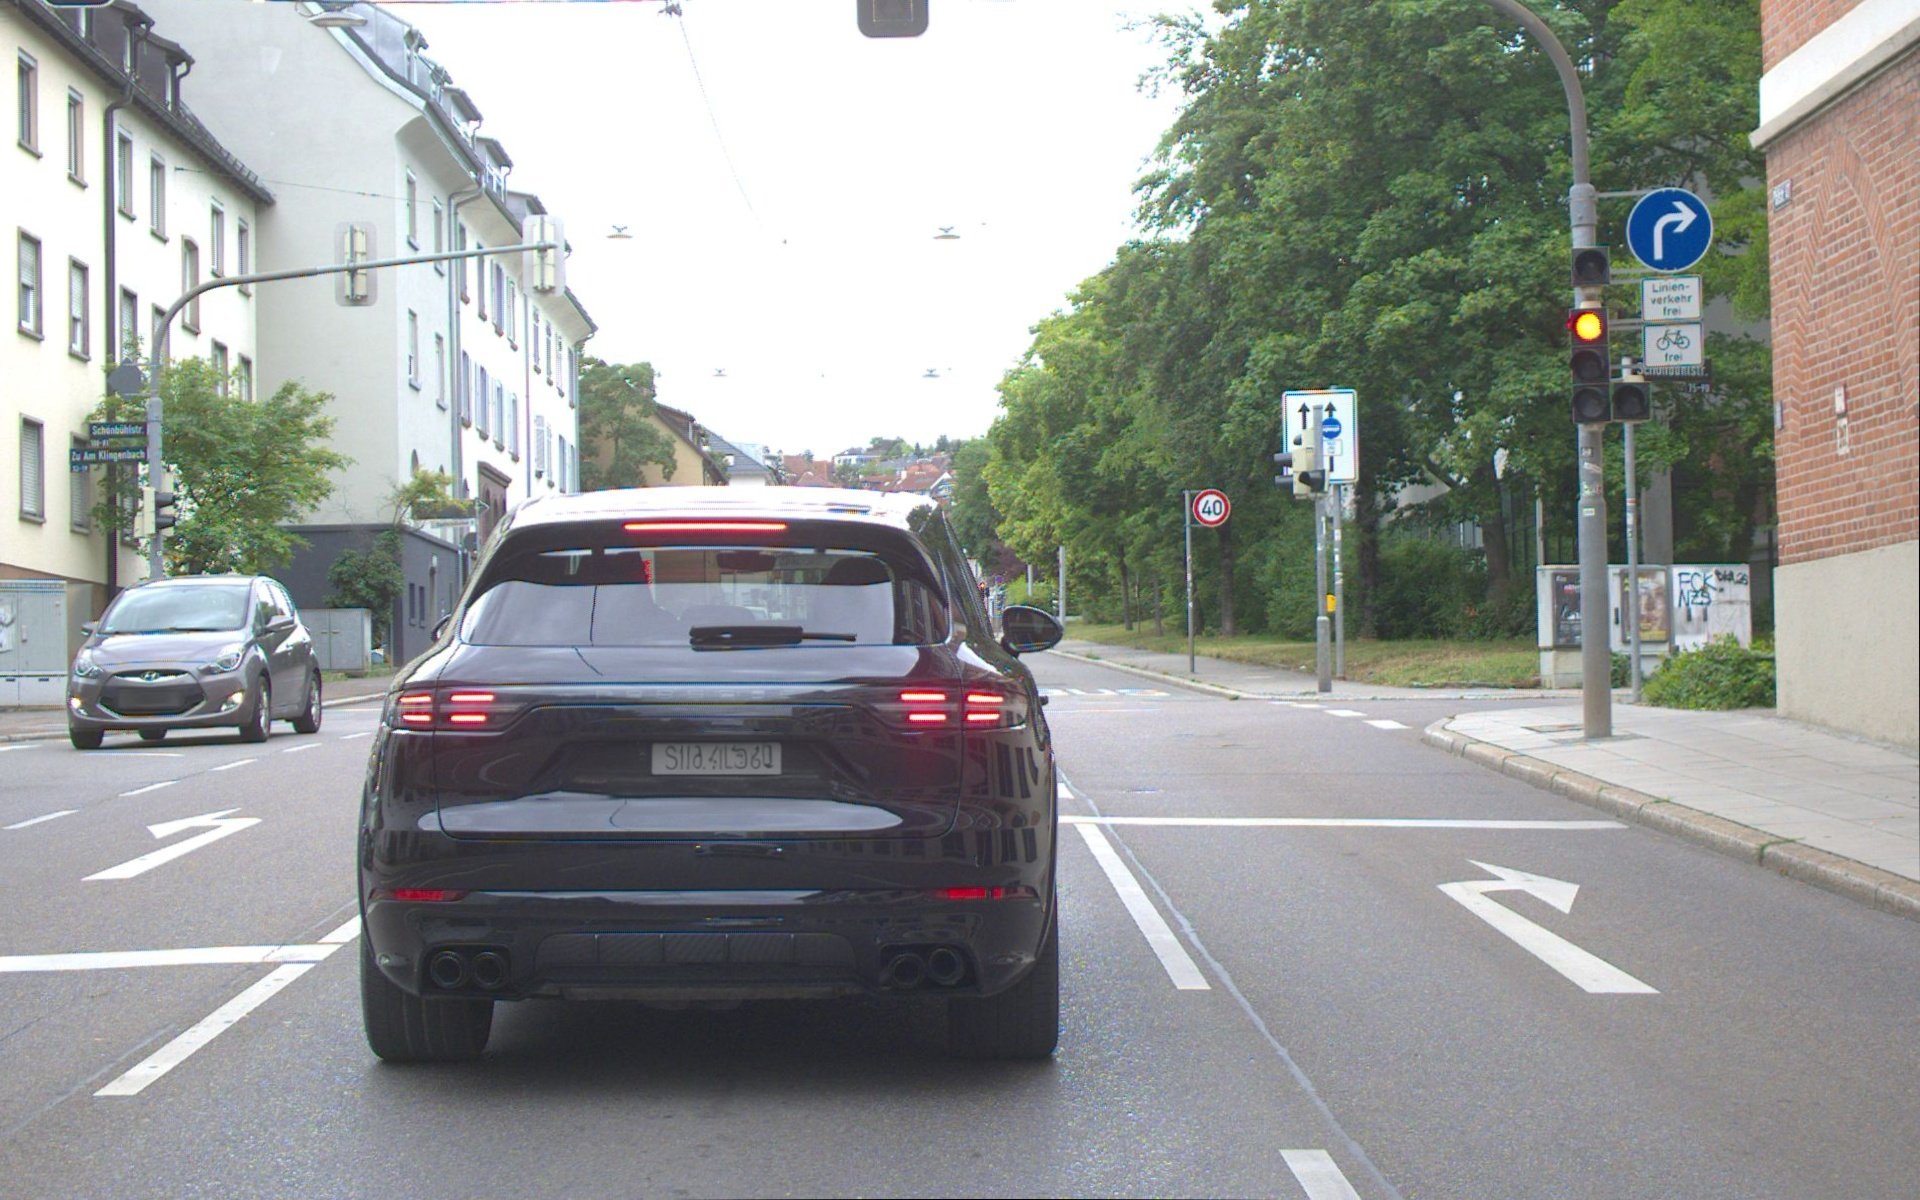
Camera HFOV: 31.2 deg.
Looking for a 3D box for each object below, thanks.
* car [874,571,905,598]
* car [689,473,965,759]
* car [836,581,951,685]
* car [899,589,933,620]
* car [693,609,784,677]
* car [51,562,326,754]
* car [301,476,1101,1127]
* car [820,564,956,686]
[{"bbox_3d":[-4.392,-0.998,215.198,1.827,1.599,4.135,1,1,0],"label":"car"},{"bbox_3d":[-0.971,0.075,26.825,1.965,2.035,4.135,1,1,0],"label":"car"},{"bbox_3d":[-1.084,0.522,57.468,1.827,1.599,3.859,1,1,0],"label":"car"},{"bbox_3d":[-2.393,0.253,187.412,1.827,1.599,4.135,1,1,0],"label":"car"},{"bbox_3d":[-5.145,0.979,80.441,1.785,1.414,4.670,-3,0,0],"label":"car"},{"bbox_3d":[-7.265,0.497,32.728,1.703,1.581,3.937,-3,1,-1],"label":"car"},{"bbox_3d":[-0.682,0.482,11.018,2.048,1.660,4.267,1,1,0],"label":"car"},{"bbox_3d":[-0.985,0.315,48.750,1.827,1.599,4.135,1,1,0],"label":"car"}]
